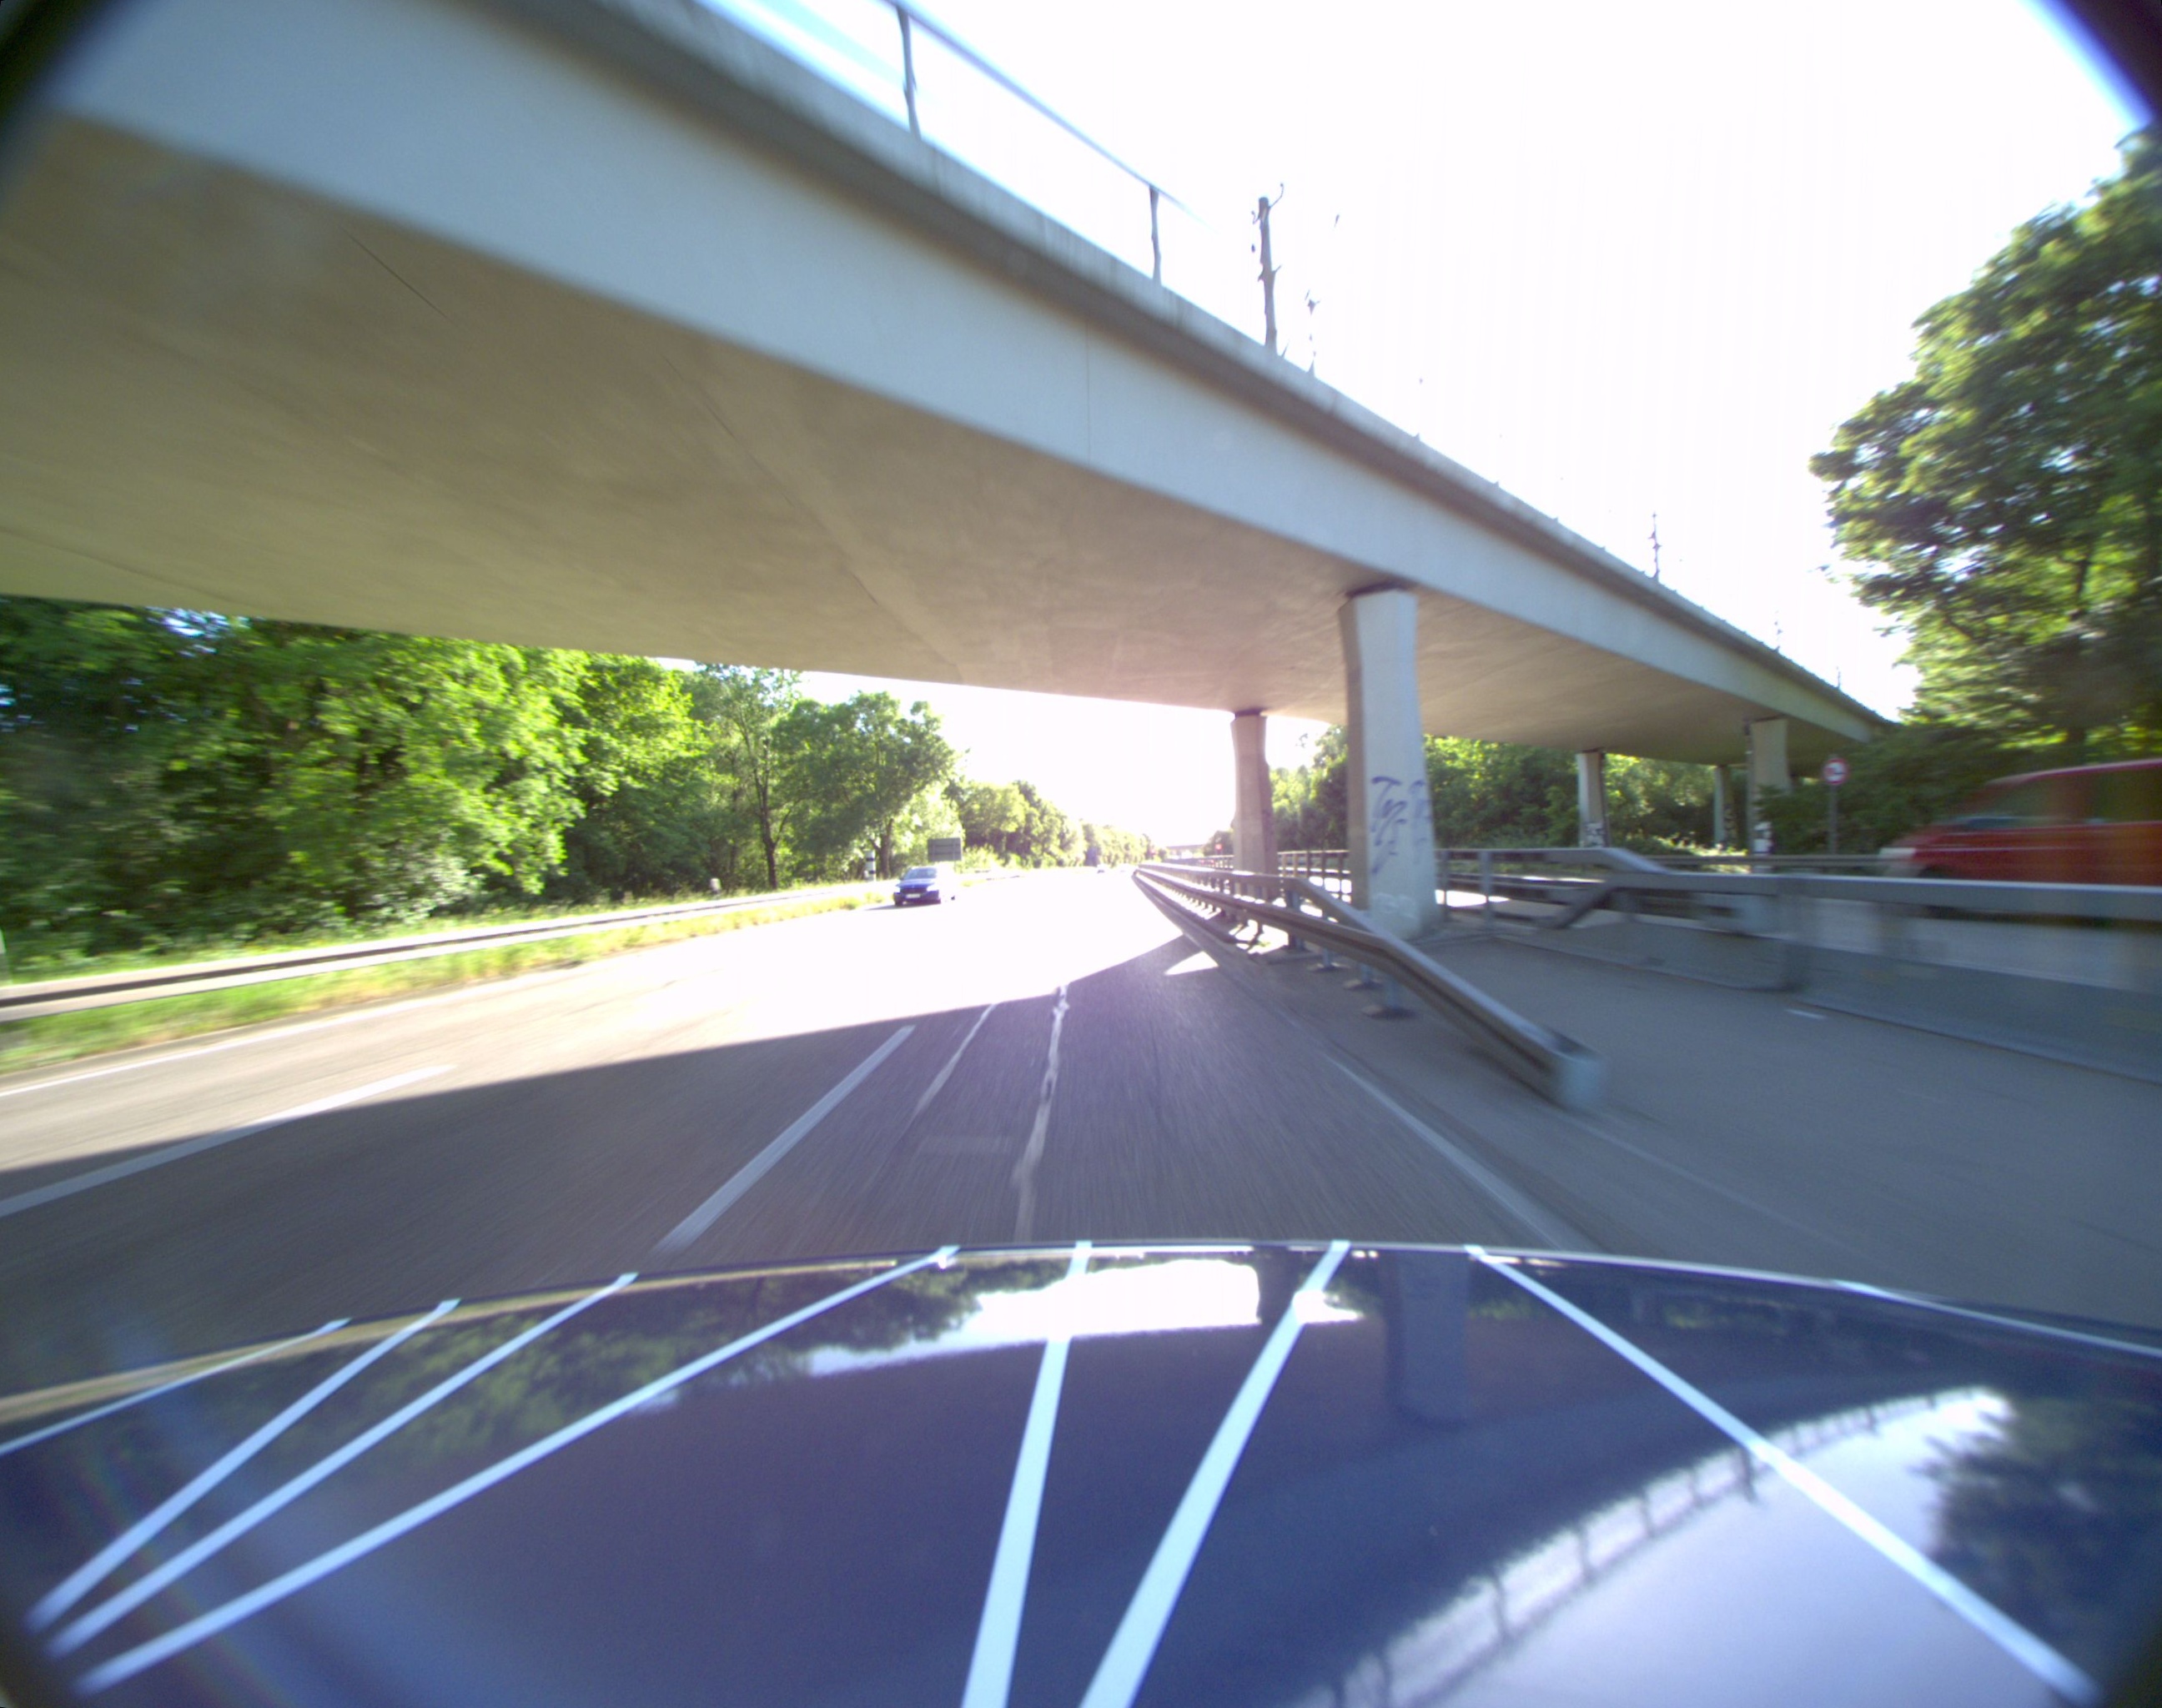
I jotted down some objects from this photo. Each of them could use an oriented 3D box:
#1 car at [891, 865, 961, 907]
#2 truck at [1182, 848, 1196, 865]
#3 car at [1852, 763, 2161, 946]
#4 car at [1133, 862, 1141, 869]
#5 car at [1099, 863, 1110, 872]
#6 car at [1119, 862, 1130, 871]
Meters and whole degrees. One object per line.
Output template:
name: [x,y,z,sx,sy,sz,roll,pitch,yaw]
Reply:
car: [-5.930,1.190,29.579,1.763,1.401,4.055,-3,0,1]
truck: [22.962,0.497,162.055,2.424,3.377,9.619,-2,0,6]
car: [12.225,-0.037,8.292,1.998,1.899,5.520,-2,0,0]
car: [12.218,2.567,165.628,1.725,1.412,3.670,-3,0,4]
car: [3.823,2.171,124.064,1.682,1.412,3.670,-3,0,3]
car: [7.219,2.011,125.565,1.725,1.412,3.670,-3,0,3]
